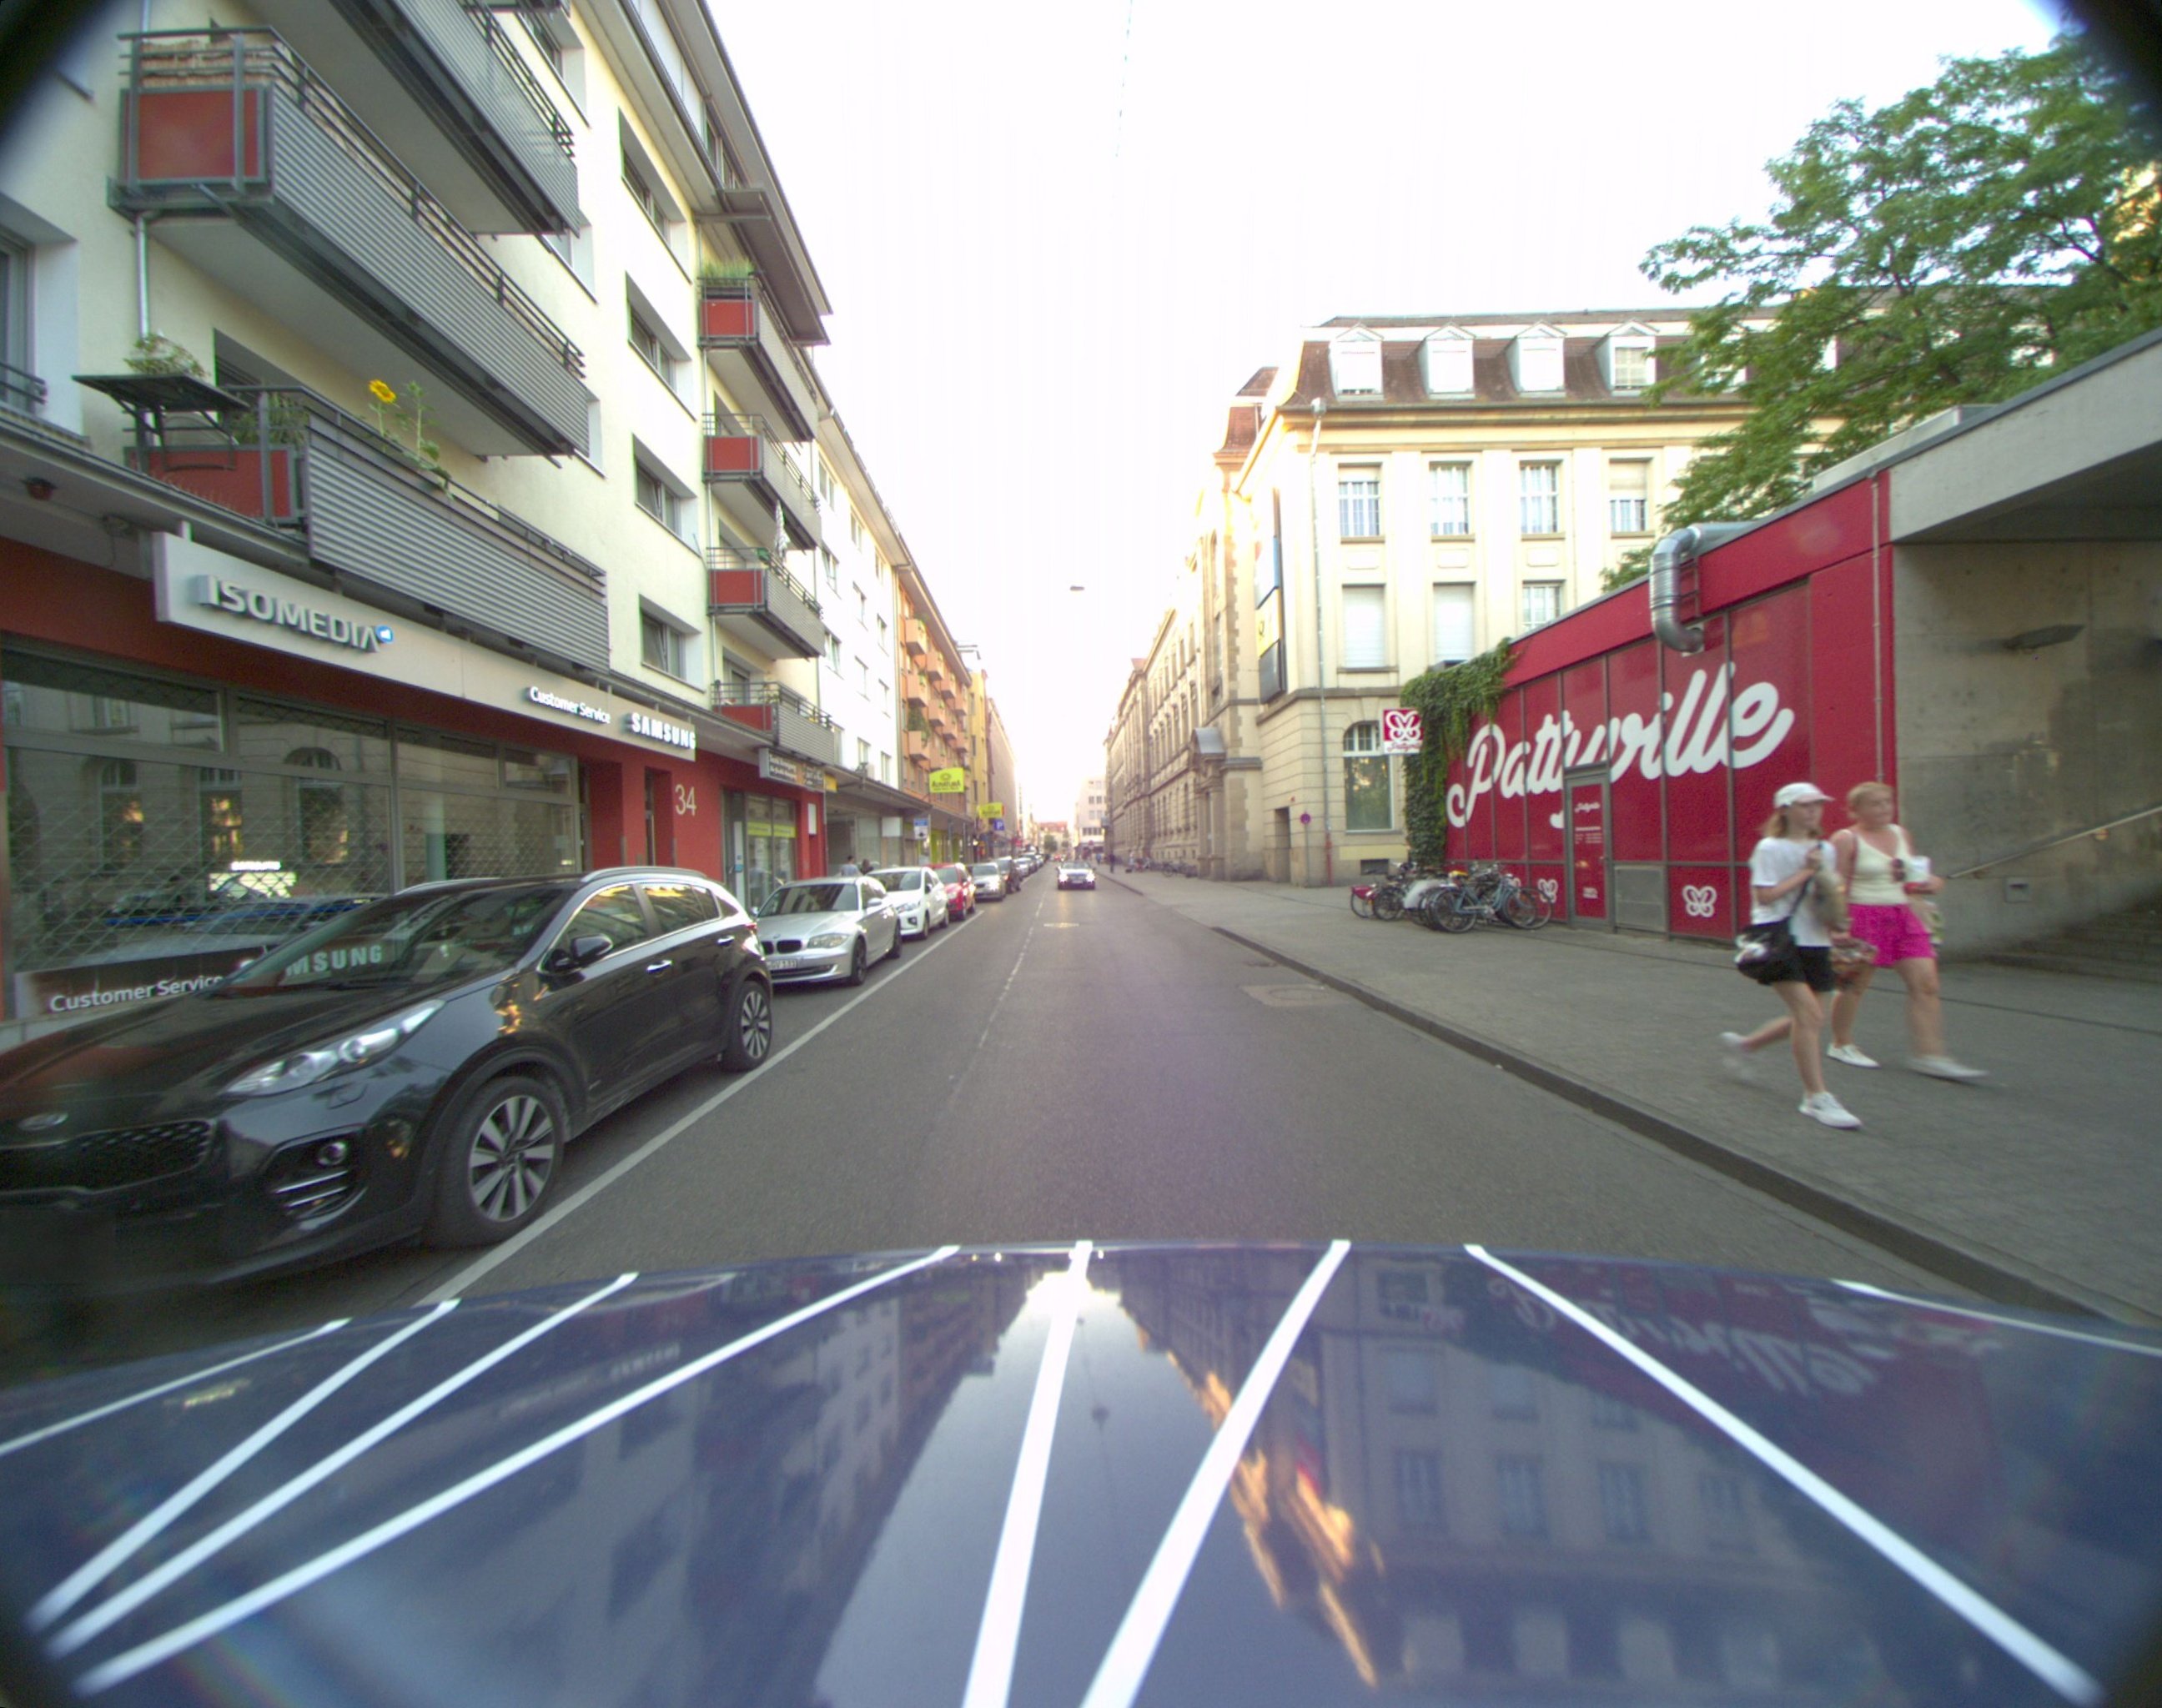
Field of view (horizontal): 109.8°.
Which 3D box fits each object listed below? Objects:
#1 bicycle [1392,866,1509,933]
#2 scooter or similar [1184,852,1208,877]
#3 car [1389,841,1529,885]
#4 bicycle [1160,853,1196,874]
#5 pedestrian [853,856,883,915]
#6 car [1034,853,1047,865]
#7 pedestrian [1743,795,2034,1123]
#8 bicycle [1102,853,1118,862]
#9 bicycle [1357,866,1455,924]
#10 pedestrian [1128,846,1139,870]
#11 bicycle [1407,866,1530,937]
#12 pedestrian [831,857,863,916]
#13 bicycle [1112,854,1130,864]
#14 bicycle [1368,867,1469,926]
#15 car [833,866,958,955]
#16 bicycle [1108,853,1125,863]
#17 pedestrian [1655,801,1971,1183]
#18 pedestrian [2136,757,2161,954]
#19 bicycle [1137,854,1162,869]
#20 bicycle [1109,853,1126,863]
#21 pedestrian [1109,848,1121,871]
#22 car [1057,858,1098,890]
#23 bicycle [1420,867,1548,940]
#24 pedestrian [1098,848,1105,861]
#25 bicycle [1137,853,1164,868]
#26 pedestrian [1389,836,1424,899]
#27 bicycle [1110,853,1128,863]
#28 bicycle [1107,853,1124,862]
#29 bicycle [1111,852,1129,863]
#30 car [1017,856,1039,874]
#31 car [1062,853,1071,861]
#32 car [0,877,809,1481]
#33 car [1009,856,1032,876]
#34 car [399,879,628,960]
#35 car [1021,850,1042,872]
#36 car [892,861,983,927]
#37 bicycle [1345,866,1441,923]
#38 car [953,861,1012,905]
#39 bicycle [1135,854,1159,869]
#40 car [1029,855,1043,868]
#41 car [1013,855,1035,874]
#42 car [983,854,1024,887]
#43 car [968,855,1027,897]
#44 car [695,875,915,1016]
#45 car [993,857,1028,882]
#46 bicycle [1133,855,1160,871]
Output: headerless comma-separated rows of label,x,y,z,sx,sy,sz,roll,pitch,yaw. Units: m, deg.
bicycle,6.646,0.806,13.708,1.798,1.101,0.500,-3,1,2
scooter or similar,6.181,0.559,40.853,1.137,1.225,0.496,-3,1,-13
car,13.089,0.308,26.472,4.016,1.363,1.750,-2,0,-2
bicycle,5.703,0.564,44.631,1.944,1.055,0.619,-5,2,-16
pedestrian,-6.102,0.889,21.795,0.649,1.652,0.655,1,1,1
car,-5.967,0.736,112.478,1.781,1.656,4.811,-3,1,-3
pedestrian,4.761,0.572,4.552,0.755,1.739,0.846,-4,0,-2
bicycle,4.079,0.453,107.250,2.025,1.102,0.730,-4,1,-7
bicycle,6.785,0.849,15.887,1.799,1.101,0.500,-2,1,-2
pedestrian,4.096,0.302,59.044,0.589,1.840,0.754,-4,1,-7
bicycle,6.643,0.809,13.076,1.798,1.101,0.500,-3,1,2
pedestrian,-6.708,0.905,21.812,0.649,1.652,0.794,1,1,1
bicycle,4.674,0.584,88.360,1.941,1.040,0.721,-3,0,-5
bicycle,6.798,0.850,15.352,1.799,1.101,0.500,-2,1,-2
car,-3.827,1.096,16.363,1.610,1.503,4.048,-4,0,0
bicycle,4.476,0.498,96.253,1.943,1.072,0.729,-4,1,-8
pedestrian,3.767,0.642,4.012,0.651,1.740,0.985,-3,0,-2
pedestrian,9.962,-0.007,6.476,0.847,1.744,0.719,-3,0,3
bicycle,5.327,0.597,59.347,1.800,1.101,0.500,-4,1,-7
bicycle,4.475,0.465,92.627,1.943,1.072,0.729,-4,1,-8
pedestrian,2.671,0.449,60.280,0.811,1.740,0.969,-3,1,-1
car,-0.243,0.915,36.396,1.741,1.407,4.681,1,0,-3
bicycle,6.659,0.810,12.606,1.798,1.101,0.500,-3,1,2
pedestrian,2.688,0.090,100.663,0.831,1.736,0.769,-4,1,-1
bicycle,5.332,0.518,58.530,1.943,1.055,0.619,-4,1,-7
pedestrian,9.739,0.402,22.744,0.617,1.845,0.634,-4,1,-28
bicycle,4.590,0.477,91.314,1.943,1.072,0.729,-4,1,-8
bicycle,4.431,0.452,97.440,1.943,1.072,0.729,-4,1,-8
bicycle,4.569,0.425,89.275,1.942,1.072,0.748,-4,1,-2
car,-4.952,1.013,71.471,1.691,1.444,4.498,-4,0,0
car,-3.279,0.752,171.878,1.824,1.728,3.999,-2,0,-2
car,-3.438,1.080,4.655,1.769,1.632,4.790,-4,0,-1
car,-4.840,0.948,61.187,1.696,1.403,4.637,-4,0,-4
car,-11.647,1.282,16.005,1.744,1.329,4.000,-2,0,1
car,-5.111,0.678,78.555,1.851,2.046,5.052,-3,1,-2
car,-3.810,0.996,20.897,1.717,1.503,4.651,-4,0,-3
bicycle,6.649,0.857,16.231,1.799,1.101,0.500,-2,1,-1
car,-3.632,1.038,28.764,1.741,1.407,4.681,-4,0,-3
bicycle,5.247,0.576,60.545,1.800,1.101,0.500,-4,1,-7
car,-5.634,0.882,95.479,1.661,1.439,4.307,-3,1,-2
car,-4.955,0.920,66.356,1.622,1.507,4.173,-4,0,-2
car,-4.360,0.919,43.373,1.756,1.658,4.756,-4,0,-1
car,-3.658,0.922,34.140,1.798,1.600,4.487,-4,0,3
car,-3.736,1.138,11.187,1.703,1.443,4.457,-4,0,-3
car,-4.432,0.936,48.341,1.696,1.406,4.756,-4,0,-1
bicycle,4.930,0.675,57.483,1.942,1.055,0.619,-4,1,-3
